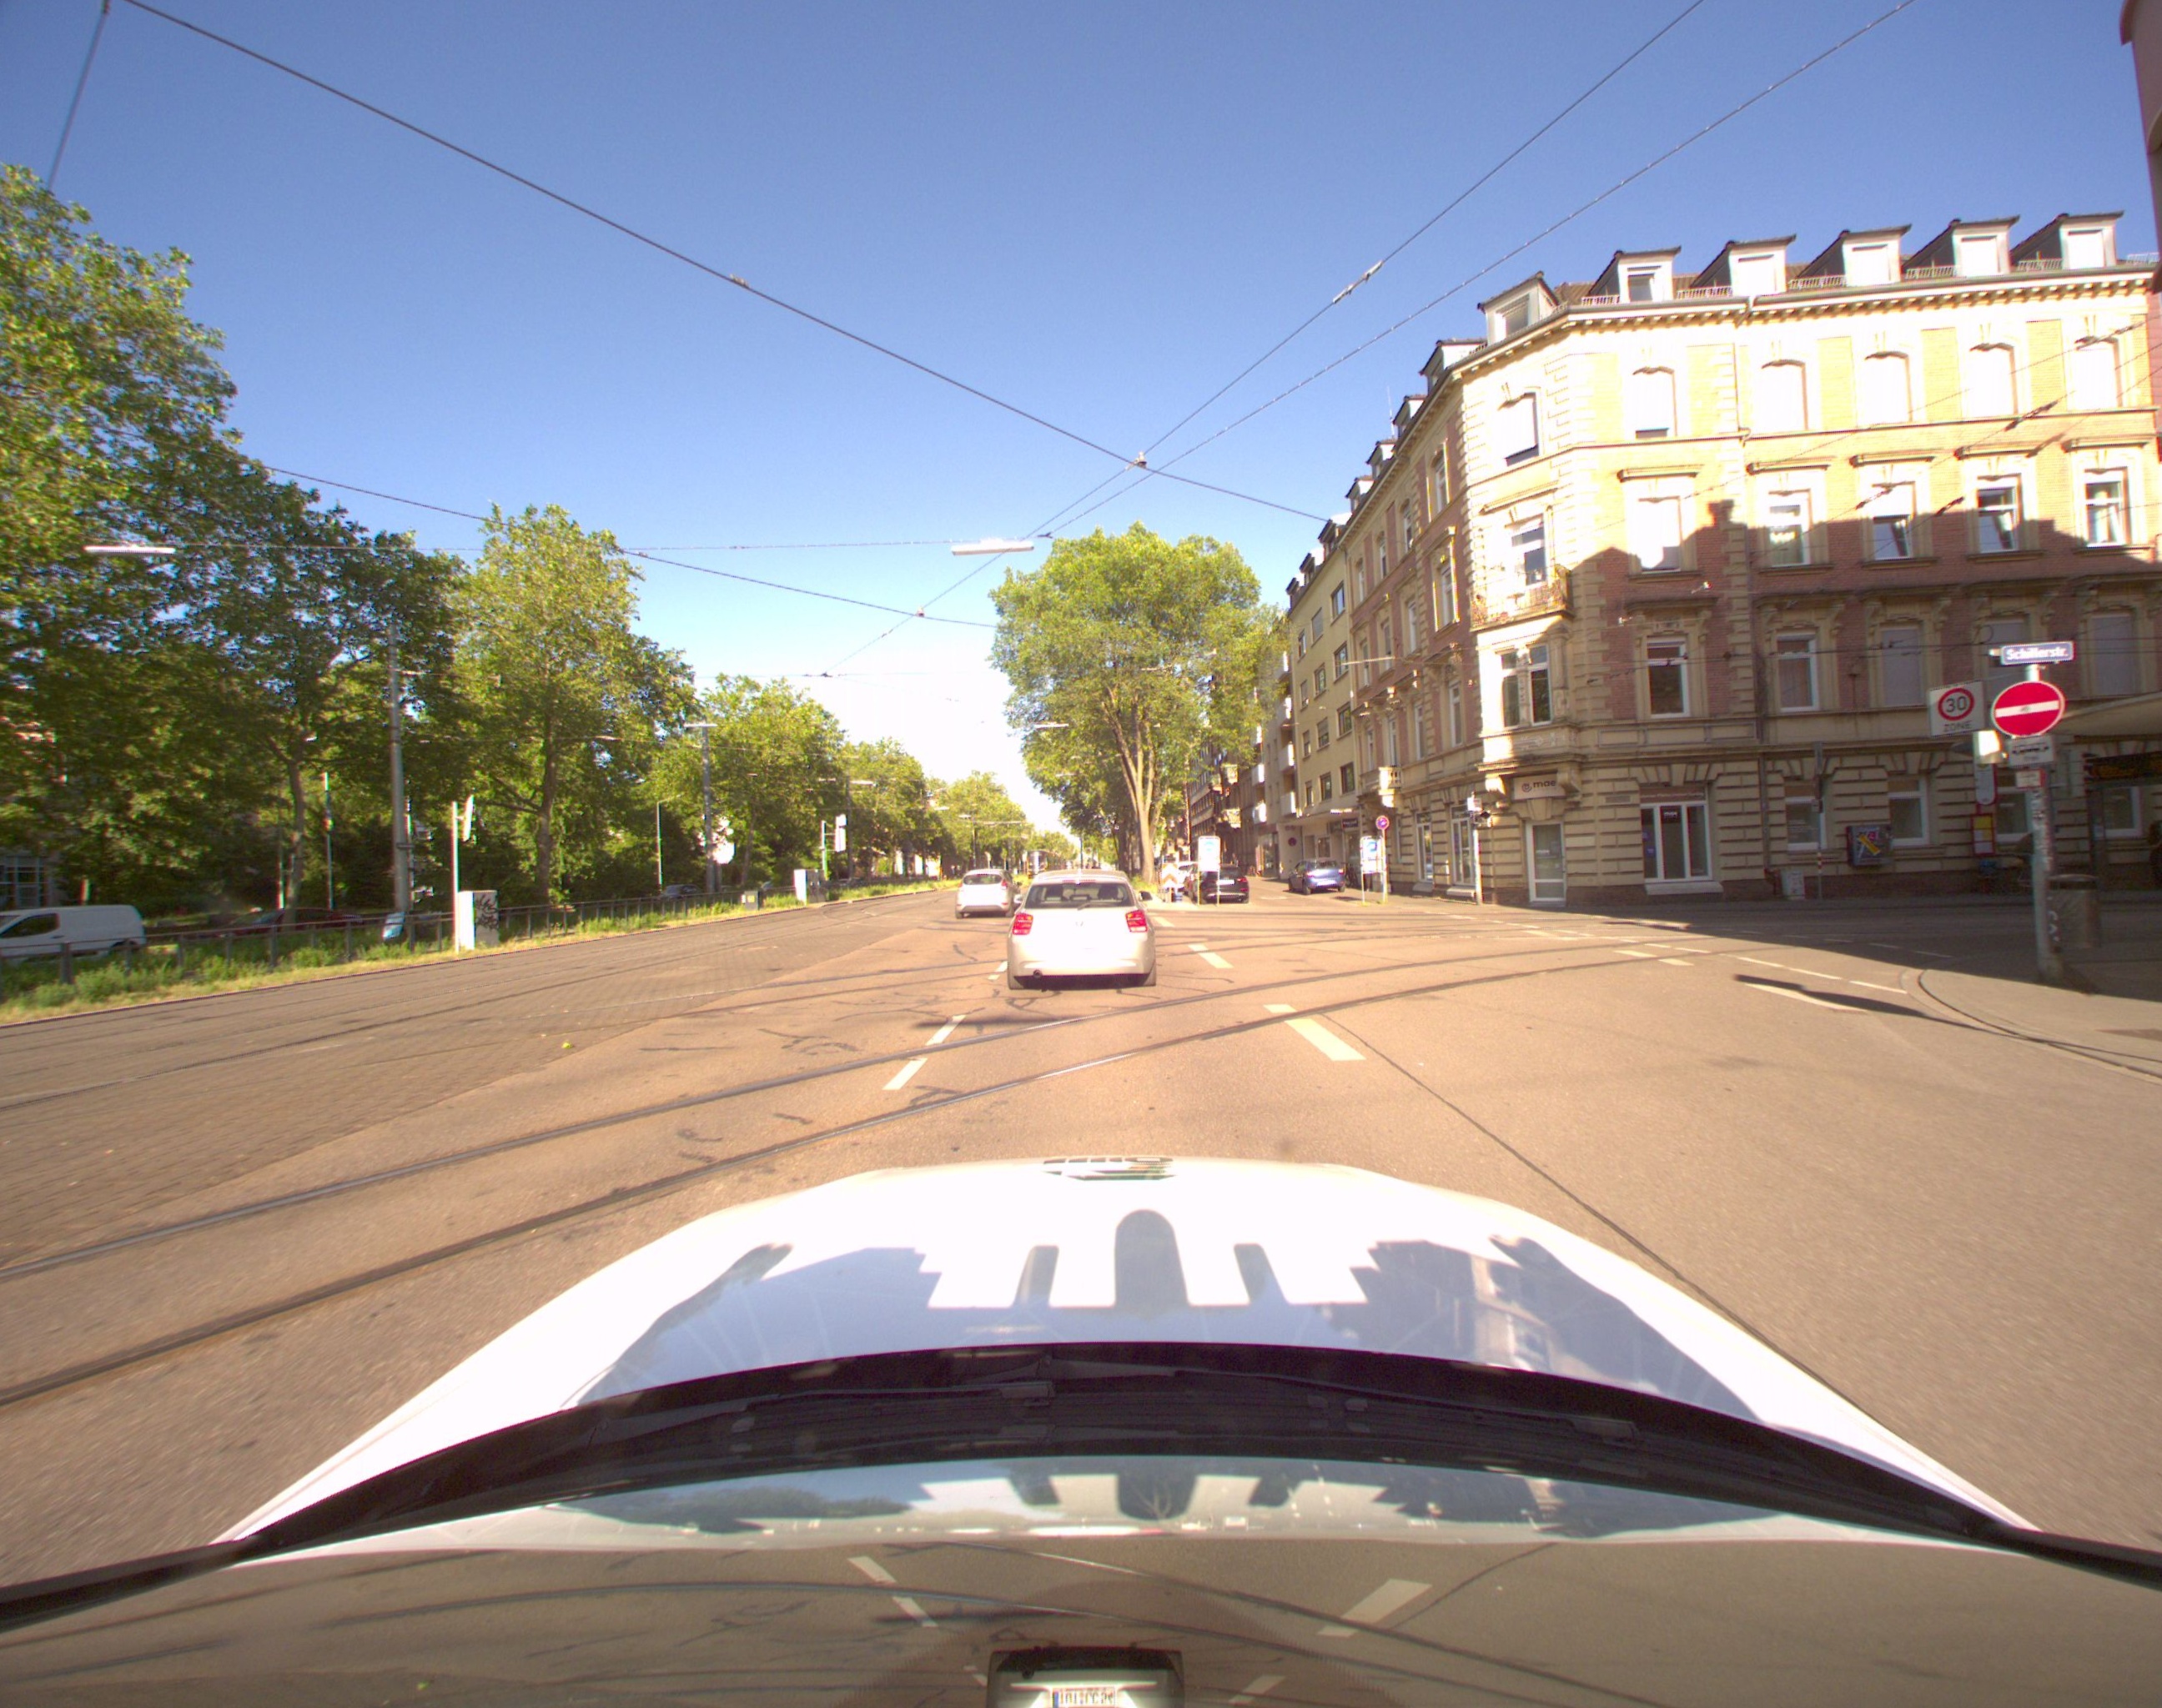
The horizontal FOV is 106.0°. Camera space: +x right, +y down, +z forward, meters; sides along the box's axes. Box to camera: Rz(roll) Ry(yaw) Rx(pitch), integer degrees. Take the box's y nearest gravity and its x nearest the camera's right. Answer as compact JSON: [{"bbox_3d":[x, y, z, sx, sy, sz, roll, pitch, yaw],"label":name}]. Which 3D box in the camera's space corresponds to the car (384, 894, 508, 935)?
[{"bbox_3d":[-27.421,2.589,35.370,1.929,1.509,4.280,-2,-2,1],"label":"car"}]

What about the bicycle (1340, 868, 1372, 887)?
[{"bbox_3d":[12.162,1.032,36.062,0.752,0.770,1.946,-2,-1,2],"label":"bicycle"}]

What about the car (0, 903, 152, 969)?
[{"bbox_3d":[-28.024,2.188,21.716,1.663,1.509,4.146,-2,-1,2],"label":"car"}]

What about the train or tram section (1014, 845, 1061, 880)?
[{"bbox_3d":[-5.185,1.050,102.712,3.952,3.866,17.501,-2,-1,3],"label":"train or tram section"}]

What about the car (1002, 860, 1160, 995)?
[{"bbox_3d":[0.100,0.826,10.973,1.733,1.467,4.003,-1,-1,3],"label":"car"}]

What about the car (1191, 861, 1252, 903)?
[{"bbox_3d":[5.170,1.011,30.432,1.729,1.433,3.679,-1,-1,1],"label":"car"}]

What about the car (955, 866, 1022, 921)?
[{"bbox_3d":[-2.760,1.150,25.100,1.604,1.467,3.888,-2,-1,-1],"label":"car"}]

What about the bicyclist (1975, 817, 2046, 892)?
[{"bbox_3d":[23.246,0.019,20.384,0.852,1.829,0.750,-2,-1,3],"label":"bicyclist"}]

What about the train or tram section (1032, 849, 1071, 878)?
[{"bbox_3d":[-4.143,1.416,120.217,3.989,3.866,17.501,-2,-1,3],"label":"train or tram section"}]

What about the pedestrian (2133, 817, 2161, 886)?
[{"bbox_3d":[27.049,-0.066,20.549,0.565,1.718,0.569,-1,-1,-38],"label":"pedestrian"}]

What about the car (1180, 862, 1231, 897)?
[{"bbox_3d":[5.400,1.067,35.706,1.737,1.433,3.556,-1,-1,1],"label":"car"}]

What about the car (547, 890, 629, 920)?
[{"bbox_3d":[-27.902,2.849,46.246,1.929,1.509,4.280,-2,-2,1],"label":"car"}]

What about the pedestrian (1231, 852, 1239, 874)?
[{"bbox_3d":[12.850,0.731,67.847,0.503,1.802,0.806,-2,-1,2],"label":"pedestrian"}]

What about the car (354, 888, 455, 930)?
[{"bbox_3d":[-36.522,2.931,44.093,1.986,2.014,4.001,-2,-1,1],"label":"car"}]

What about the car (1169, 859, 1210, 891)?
[{"bbox_3d":[5.463,1.043,41.379,1.718,1.507,3.556,-1,-1,1],"label":"car"}]

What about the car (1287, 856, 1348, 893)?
[{"bbox_3d":[10.375,0.868,35.991,1.729,1.519,3.638,-1,-1,2],"label":"car"}]

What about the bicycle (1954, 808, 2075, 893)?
[{"bbox_3d":[23.326,-0.077,20.382,2.171,2.014,0.606,-2,-1,3],"label":"bicycle"}]

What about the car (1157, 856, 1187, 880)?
[{"bbox_3d":[6.014,0.931,54.191,1.718,1.507,3.556,-1,-1,1],"label":"car"}]

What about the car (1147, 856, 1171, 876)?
[{"bbox_3d":[6.350,0.976,66.486,1.718,1.507,3.556,-1,-1,1],"label":"car"}]

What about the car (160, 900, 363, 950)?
[{"bbox_3d":[-27.659,2.346,27.779,1.929,1.349,4.850,-2,-2,2],"label":"car"}]

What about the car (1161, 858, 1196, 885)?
[{"bbox_3d":[5.654,1.015,47.632,1.718,1.507,3.556,-1,-1,1],"label":"car"}]

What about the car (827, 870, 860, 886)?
[{"bbox_3d":[-25.566,2.551,87.724,1.929,1.509,4.851,-2,-1,2],"label":"car"}]
